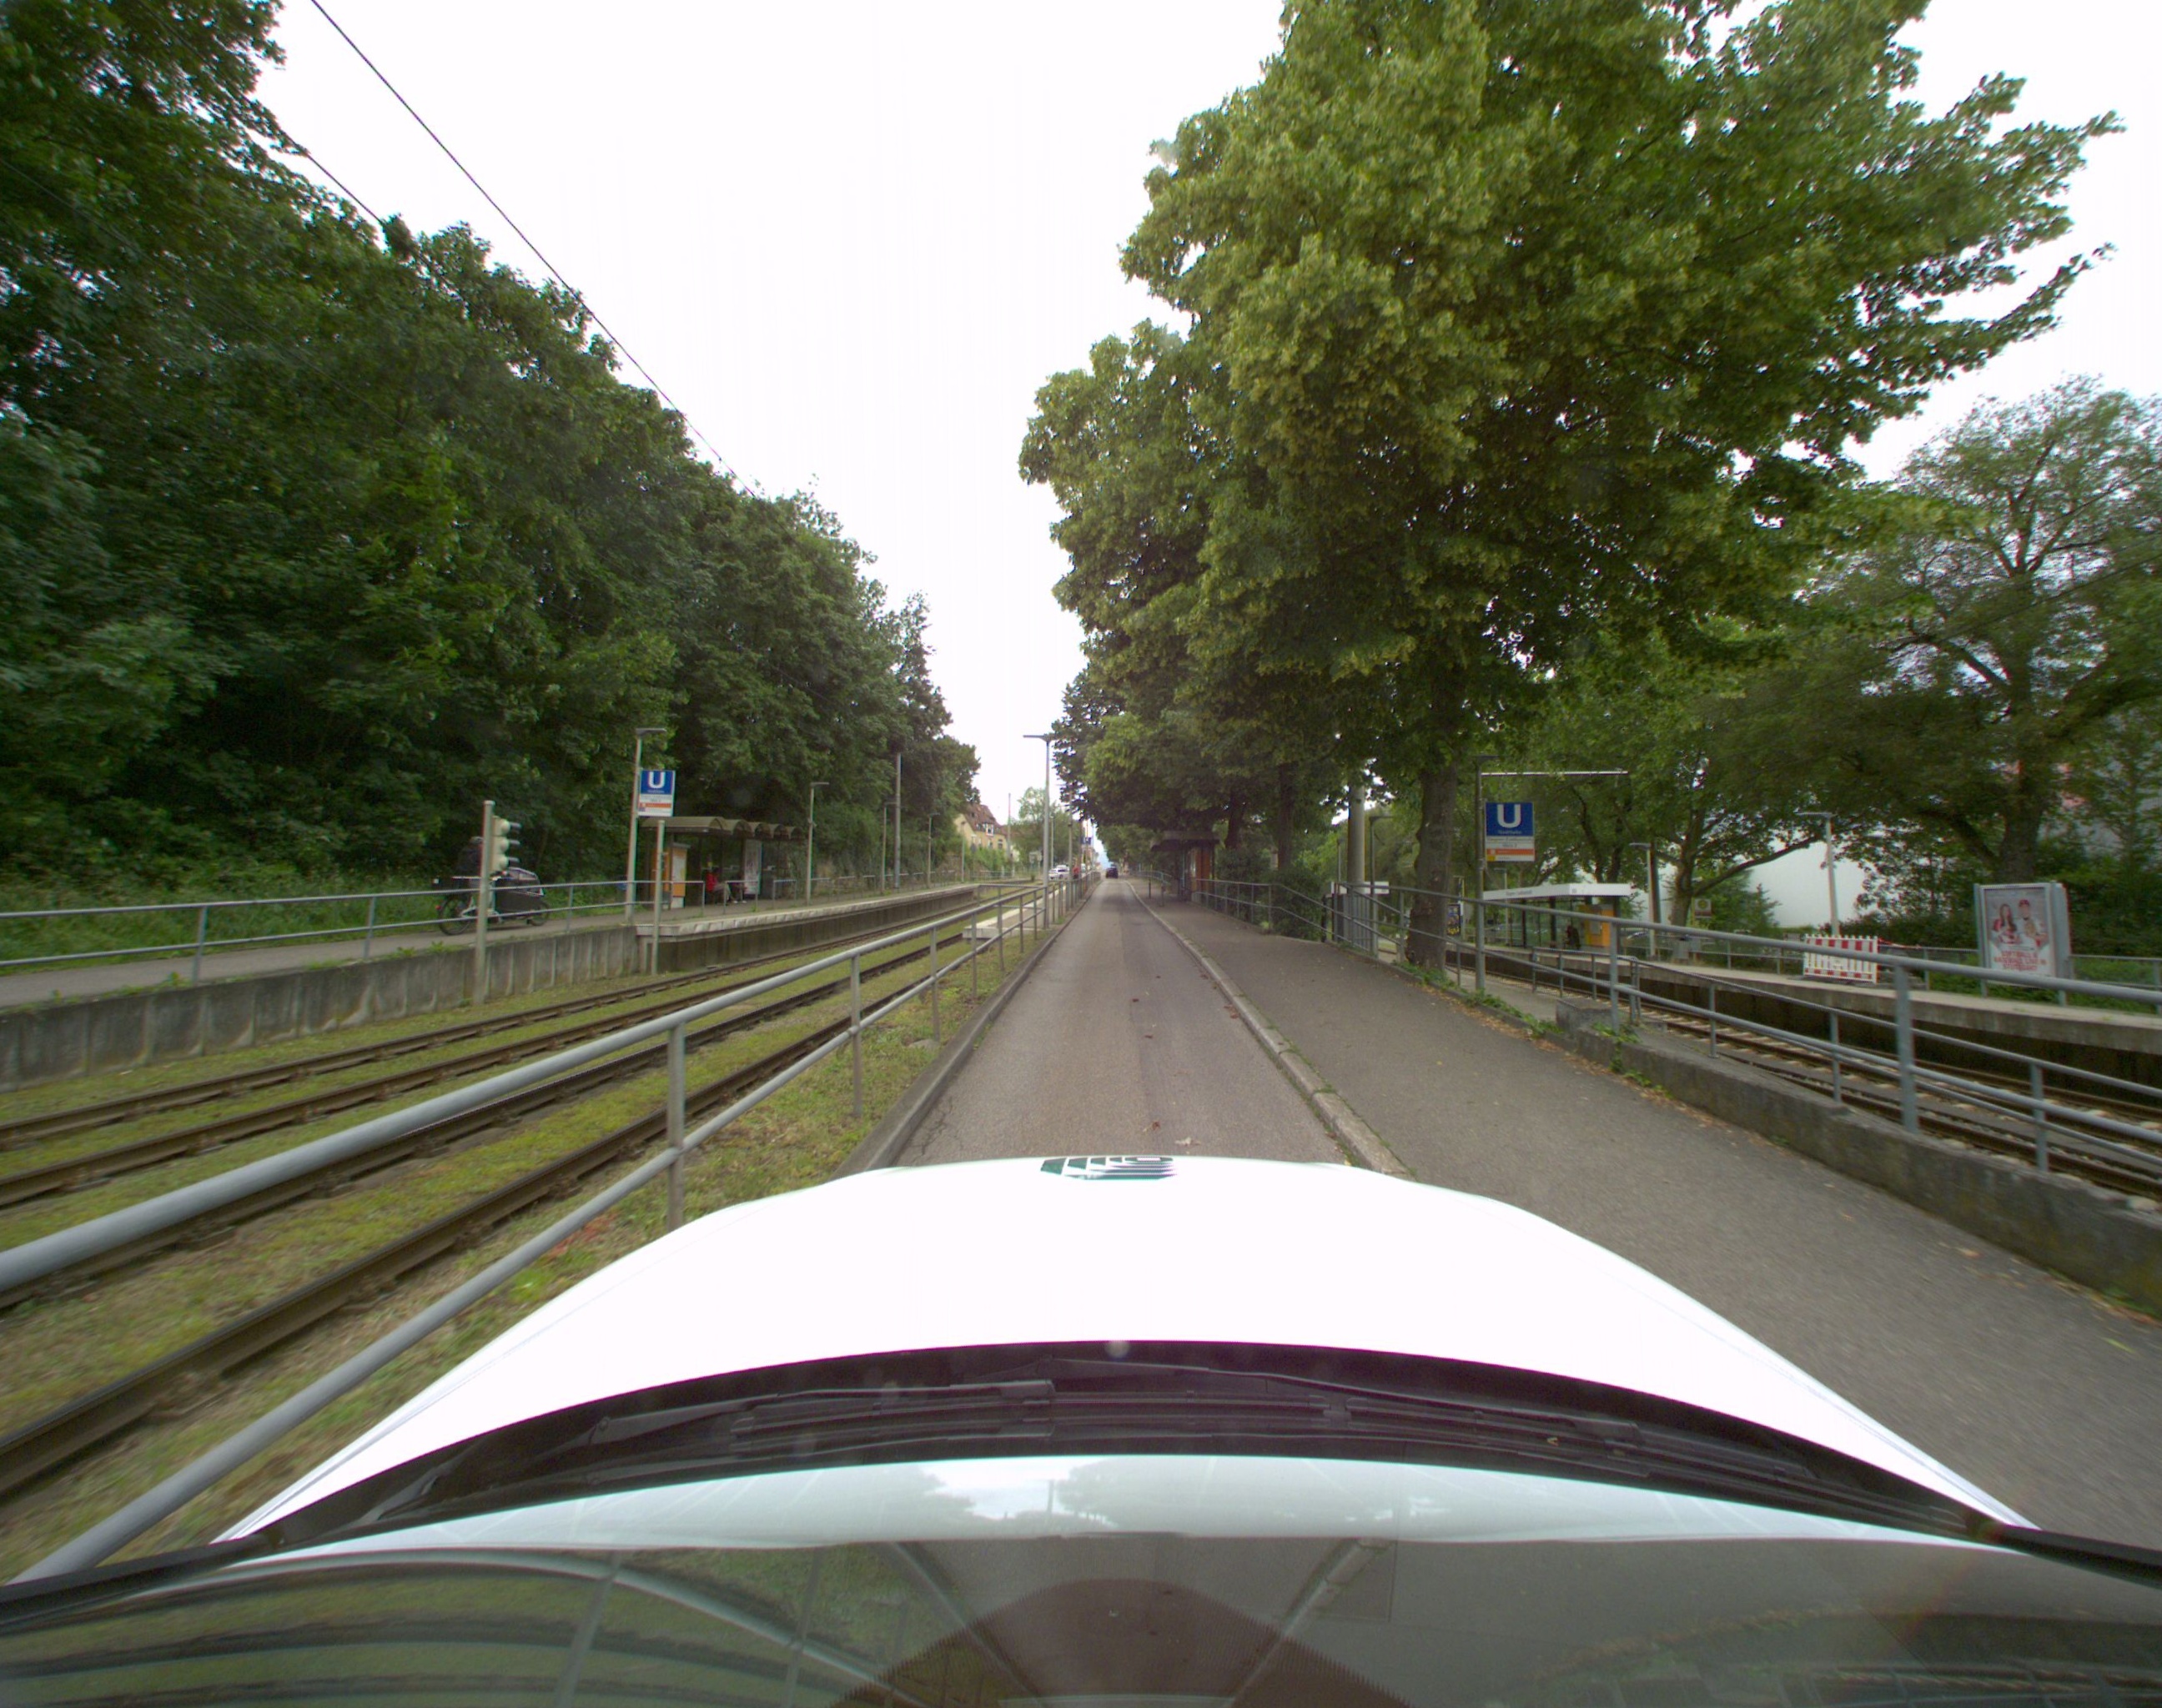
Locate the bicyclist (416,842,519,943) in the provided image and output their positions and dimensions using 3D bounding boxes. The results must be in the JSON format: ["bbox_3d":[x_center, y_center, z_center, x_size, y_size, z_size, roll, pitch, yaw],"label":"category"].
[{"bbox_3d":[-11.155,0.673,14.860,0.729,1.711,1.294,3,0,5],"label":"bicyclist"}]

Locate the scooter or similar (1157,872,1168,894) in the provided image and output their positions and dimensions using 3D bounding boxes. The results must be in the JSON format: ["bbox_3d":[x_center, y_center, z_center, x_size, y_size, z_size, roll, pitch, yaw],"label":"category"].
[{"bbox_3d":[4.627,1.651,46.208,0.342,1.157,1.145,4,-4,-4],"label":"scooter or similar"}]

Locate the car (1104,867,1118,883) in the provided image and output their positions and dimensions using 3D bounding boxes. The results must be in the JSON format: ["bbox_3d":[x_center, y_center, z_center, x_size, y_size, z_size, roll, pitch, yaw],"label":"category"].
[{"bbox_3d":[4.583,3.157,122.933,1.986,2.146,4.000,3,-4,2],"label":"car"}]

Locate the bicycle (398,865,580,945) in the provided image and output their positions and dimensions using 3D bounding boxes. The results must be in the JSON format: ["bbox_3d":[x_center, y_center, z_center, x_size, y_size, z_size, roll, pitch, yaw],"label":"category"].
[{"bbox_3d":[-11.099,0.896,15.523,0.729,1.289,3.351,3,0,5],"label":"bicycle"}]

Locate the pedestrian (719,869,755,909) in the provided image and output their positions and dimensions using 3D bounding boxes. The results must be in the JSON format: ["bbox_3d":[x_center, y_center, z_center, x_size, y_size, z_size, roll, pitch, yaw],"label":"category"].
[{"bbox_3d":[-11.805,1.201,27.975,0.769,1.326,0.787,3,-4,2],"label":"pedestrian"}]

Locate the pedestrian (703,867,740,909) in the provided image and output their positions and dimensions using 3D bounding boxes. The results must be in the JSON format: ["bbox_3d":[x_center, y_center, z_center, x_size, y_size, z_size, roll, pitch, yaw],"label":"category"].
[{"bbox_3d":[-11.863,1.127,26.915,0.769,1.326,0.787,3,-2,2],"label":"pedestrian"}]

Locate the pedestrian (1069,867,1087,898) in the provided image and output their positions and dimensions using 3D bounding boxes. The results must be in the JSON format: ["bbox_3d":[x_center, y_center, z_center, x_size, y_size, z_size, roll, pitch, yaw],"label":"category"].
[{"bbox_3d":[-0.143,1.388,39.932,0.739,1.409,0.747,3,0,2],"label":"pedestrian"}]

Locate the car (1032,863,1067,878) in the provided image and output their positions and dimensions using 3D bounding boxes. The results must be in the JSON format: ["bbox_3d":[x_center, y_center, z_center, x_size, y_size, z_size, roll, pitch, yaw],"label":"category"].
[{"bbox_3d":[-4.265,2.248,110.556,4.134,1.659,1.979,6,-5,-33],"label":"car"}]
